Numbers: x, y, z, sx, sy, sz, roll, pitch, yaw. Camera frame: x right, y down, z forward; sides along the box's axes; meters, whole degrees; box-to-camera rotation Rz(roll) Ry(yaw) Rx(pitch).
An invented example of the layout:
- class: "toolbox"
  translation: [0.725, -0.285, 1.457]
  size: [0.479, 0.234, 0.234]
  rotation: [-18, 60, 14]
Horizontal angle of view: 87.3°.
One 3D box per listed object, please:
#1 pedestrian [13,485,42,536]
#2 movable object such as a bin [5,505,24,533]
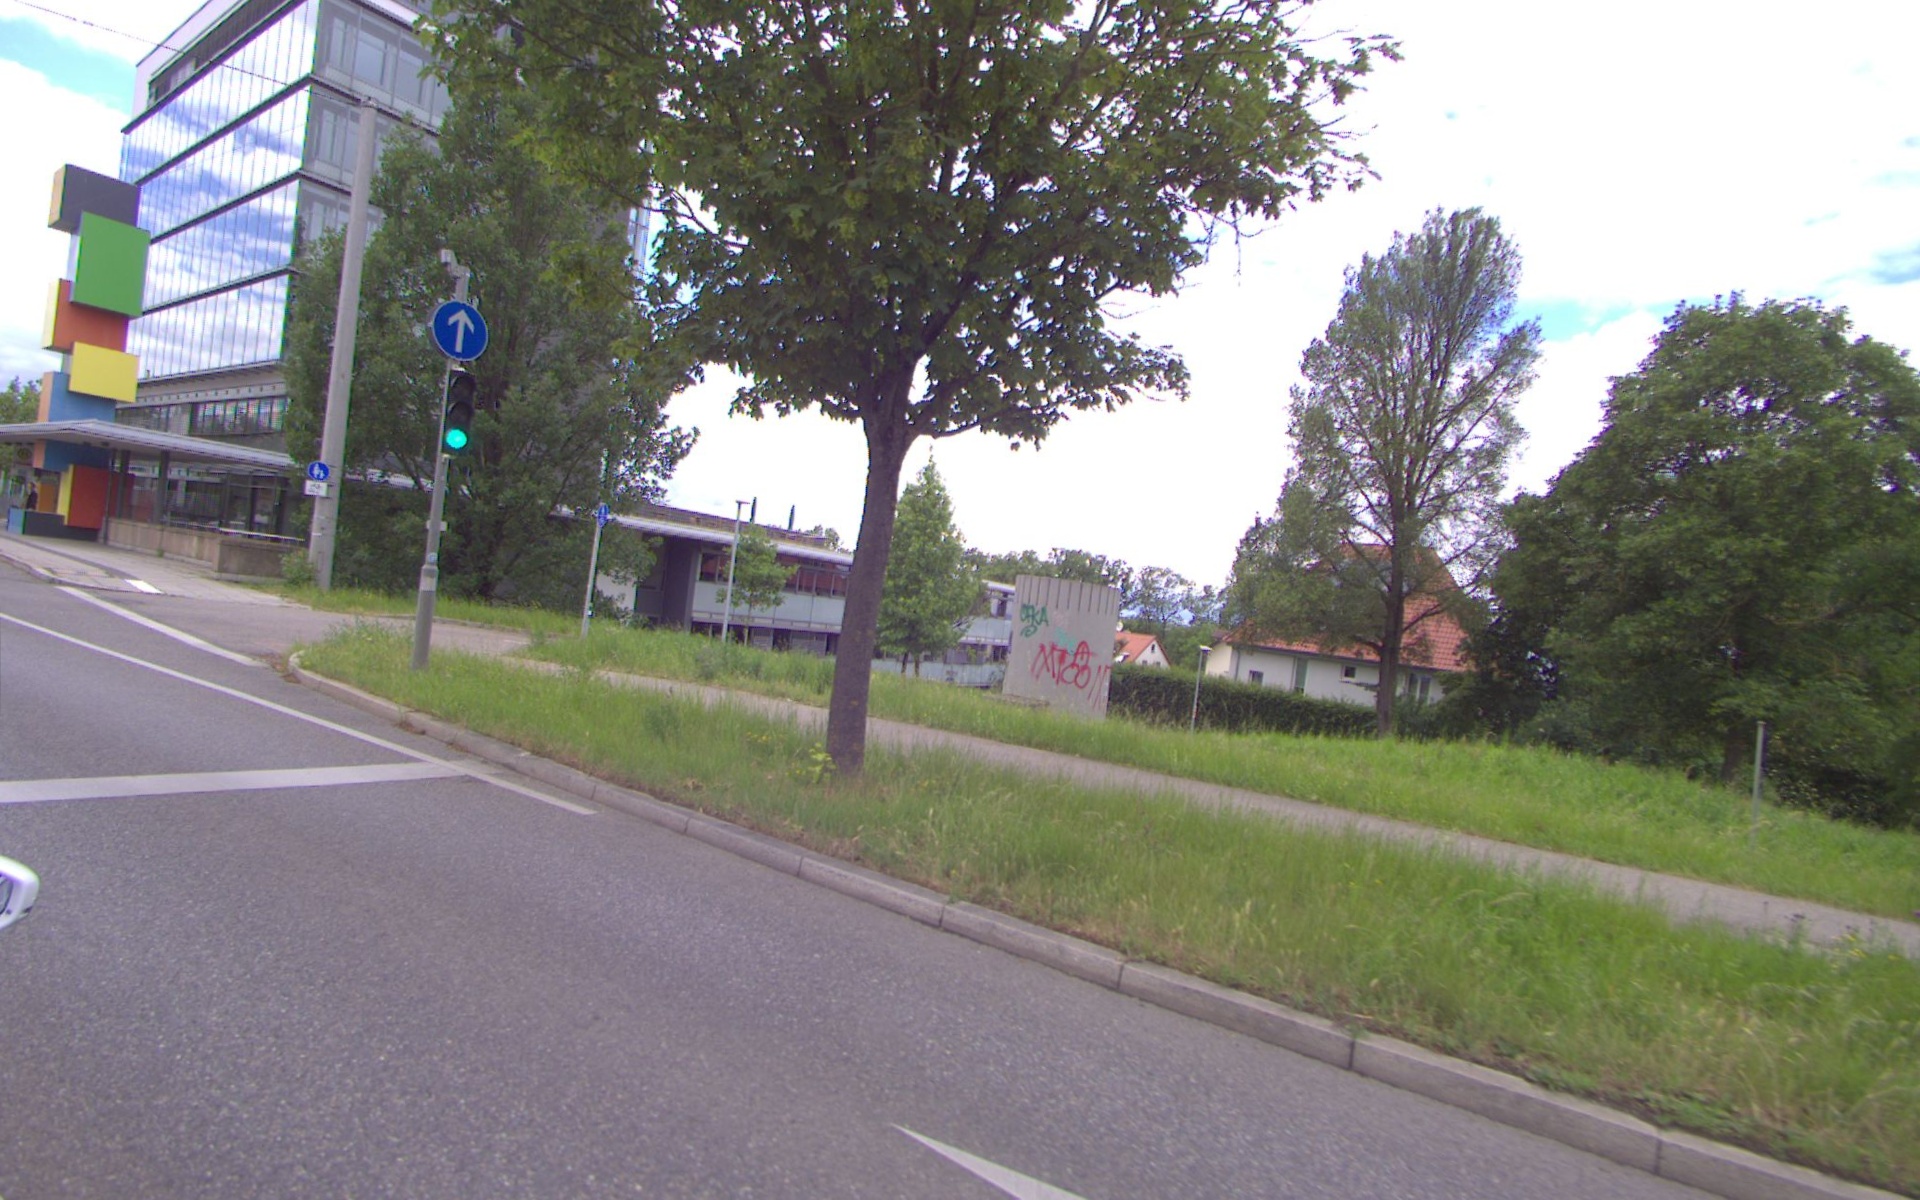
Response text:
- class: "pedestrian"
  translation: [-33.070, -3.177, 35.673]
  size: [0.722, 1.693, 0.524]
  rotation: [7, 0, 40]
- class: "movable object such as a bin"
  translation: [-32.882, -2.807, 34.992]
  size: [0.455, 0.908, 0.356]
  rotation: [7, 0, 40]
